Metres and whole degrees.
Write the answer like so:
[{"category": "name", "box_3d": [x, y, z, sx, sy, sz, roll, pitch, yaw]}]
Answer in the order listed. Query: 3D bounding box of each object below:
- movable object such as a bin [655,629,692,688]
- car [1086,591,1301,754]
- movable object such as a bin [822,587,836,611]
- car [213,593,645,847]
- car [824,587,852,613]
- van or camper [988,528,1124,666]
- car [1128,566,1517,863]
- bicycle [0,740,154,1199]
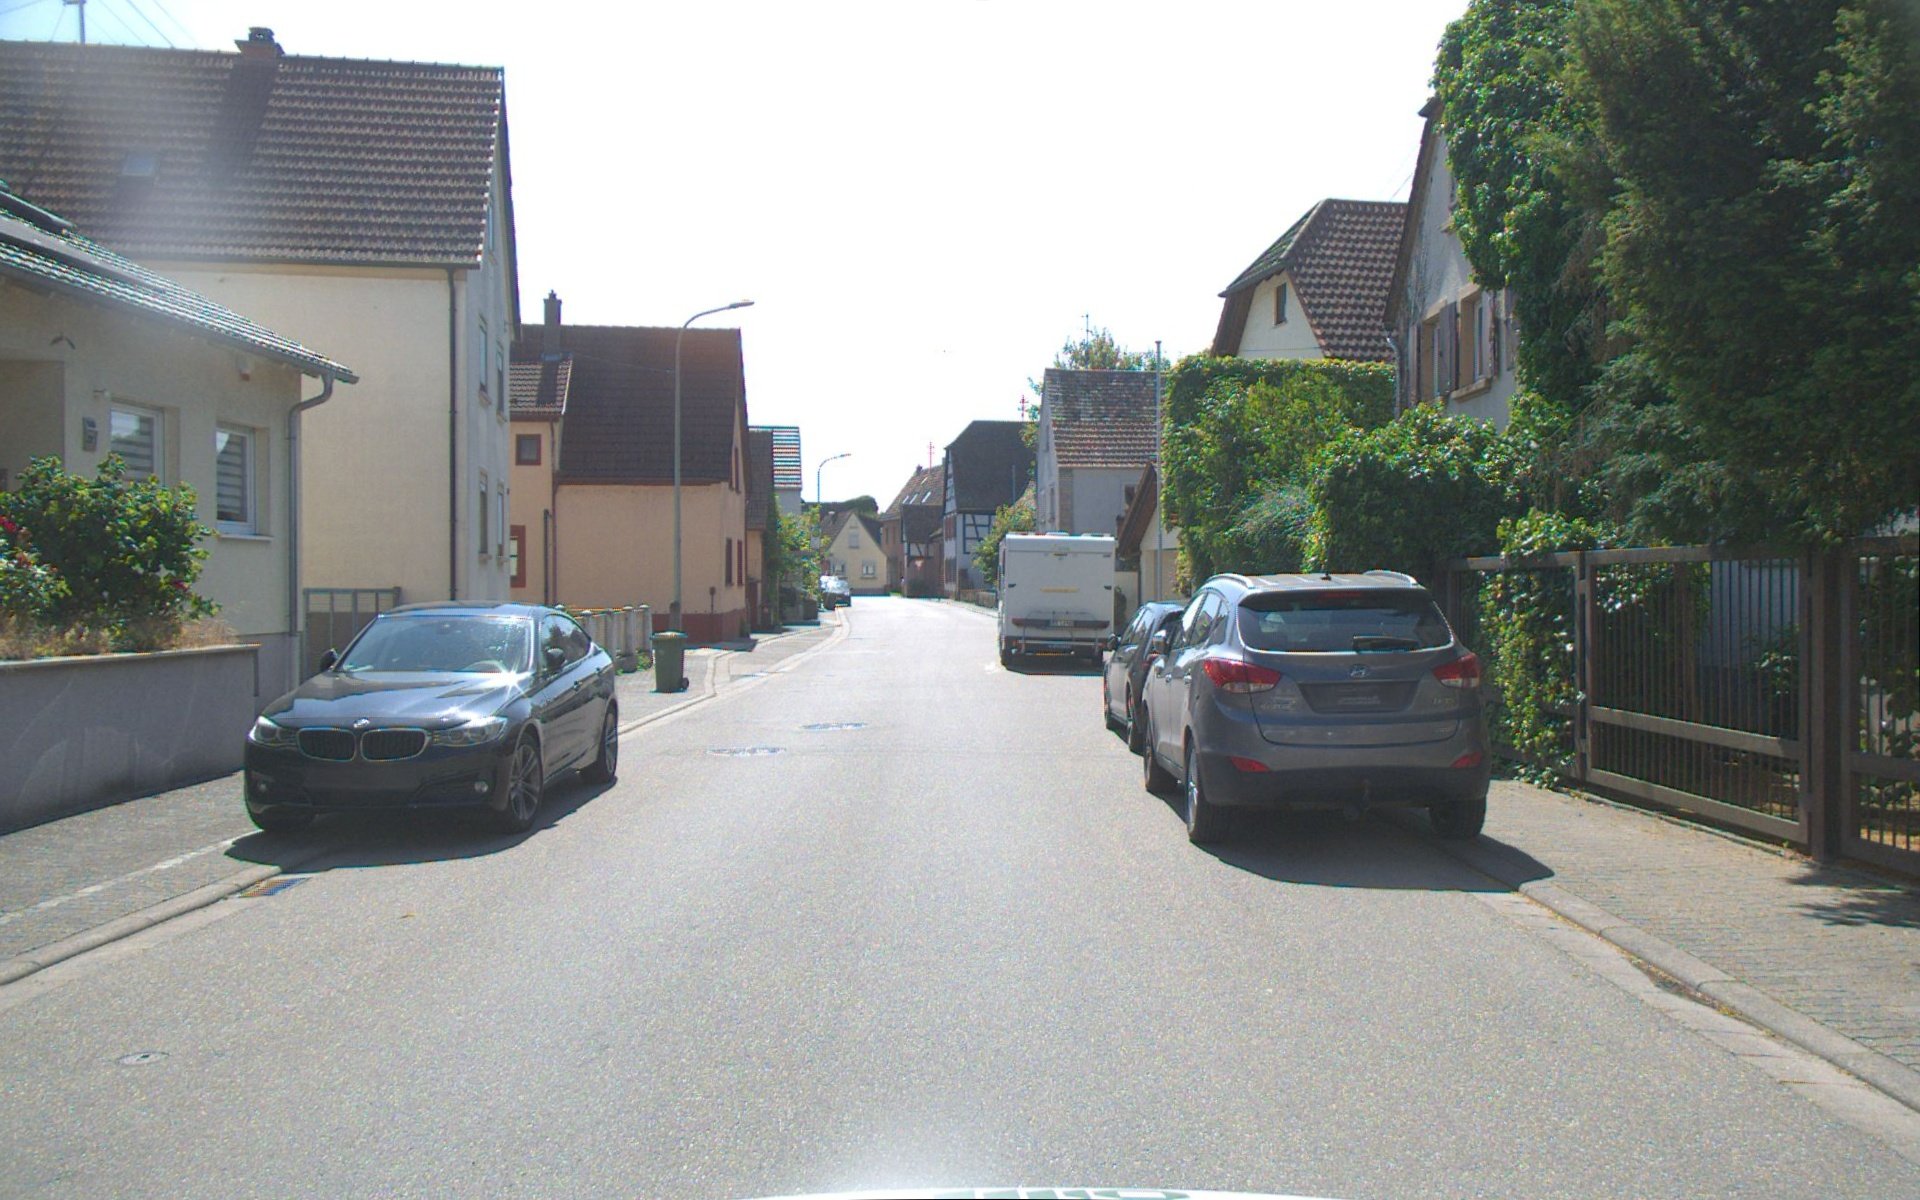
[{"category": "movable object such as a bin", "box_3d": [-4.779, 0.973, 27.578, 0.528, 0.966, 0.553, 1, 0, -2]}, {"category": "car", "box_3d": [2.361, 0.671, 17.627, 1.677, 1.489, 4.065, -1, 0, 0]}, {"category": "movable object such as a bin", "box_3d": [-6.805, -0.046, 86.086, 0.675, 1.206, 0.714, -1, 0, -2]}, {"category": "car", "box_3d": [-3.754, 0.733, 12.670, 1.807, 1.553, 4.764, -1, 0, -1]}, {"category": "car", "box_3d": [-7.293, -0.019, 99.312, 1.481, 1.461, 3.510, -1, 0, -1]}, {"category": "van or camper", "box_3d": [1.960, -0.070, 35.375, 2.471, 2.744, 4.553, -1, 0, -2]}, {"category": "car", "box_3d": [2.280, 0.616, 11.557, 1.757, 1.659, 4.361, -1, 1, 0]}, {"category": "bicycle", "box_3d": [-2.136, 0.930, 2.927, 0.578, 1.168, 1.947, -1, 0, -5]}]
